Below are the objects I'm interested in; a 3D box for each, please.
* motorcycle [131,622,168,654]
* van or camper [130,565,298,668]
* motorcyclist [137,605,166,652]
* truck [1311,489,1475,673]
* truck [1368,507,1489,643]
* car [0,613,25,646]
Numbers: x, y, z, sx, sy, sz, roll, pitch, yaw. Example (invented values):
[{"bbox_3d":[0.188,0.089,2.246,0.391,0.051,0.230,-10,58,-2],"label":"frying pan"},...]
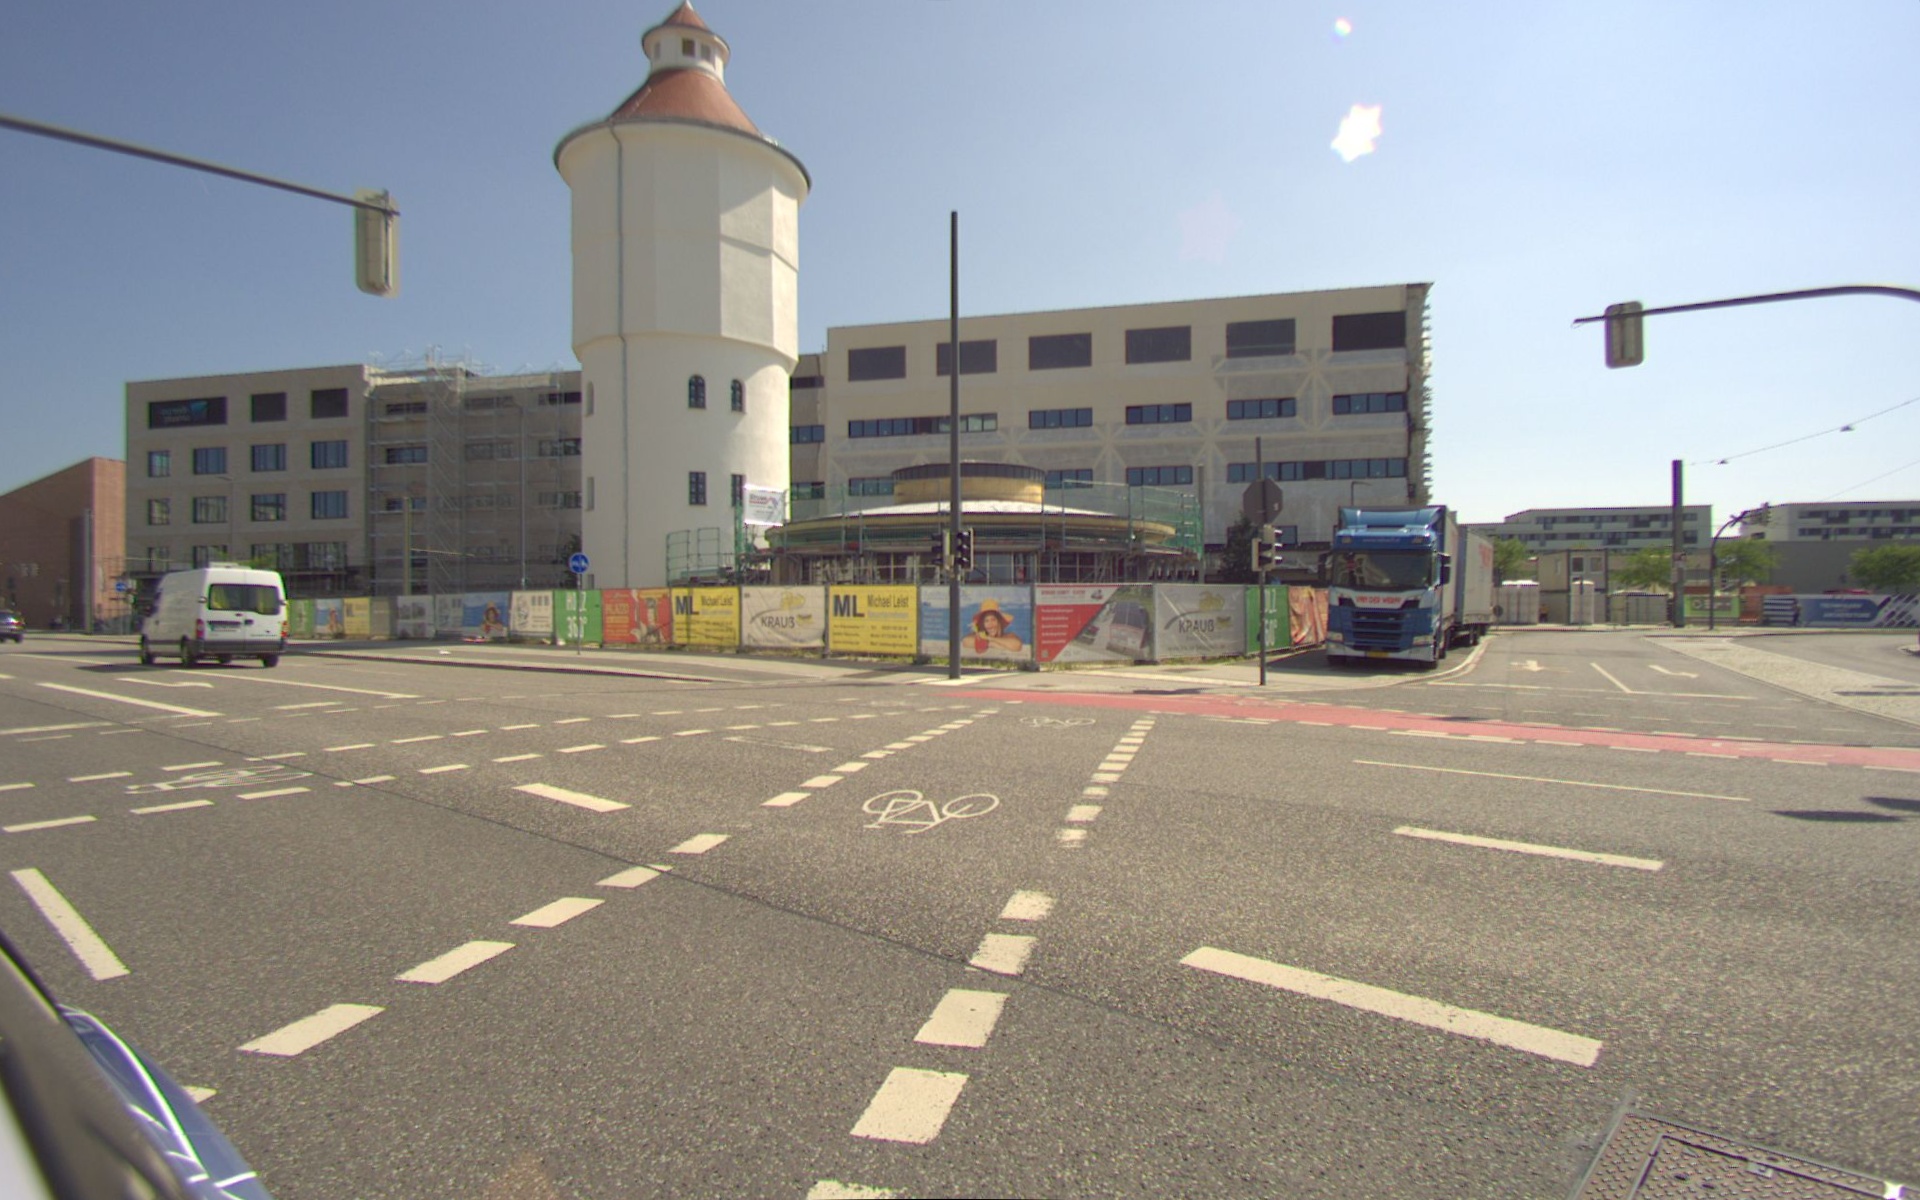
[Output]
[{"bbox_3d":[-29.830,1.391,37.228,2.213,1.112,0.578,0,-2,40],"label":"motorcycle"},{"bbox_3d":[-19.652,0.471,26.568,5.676,2.432,2.131,-1,-3,39],"label":"van or camper"},{"bbox_3d":[-29.632,1.035,37.092,0.927,1.672,0.613,0,-1,39],"label":"motorcyclist"},{"bbox_3d":[12.385,-0.564,28.171,3.287,4.098,10.877,0,1,28],"label":"truck"},{"bbox_3d":[17.666,-0.926,37.627,3.331,4.307,10.842,0,1,29],"label":"truck"},{"bbox_3d":[-48.214,1.449,50.303,3.963,1.602,1.781,-1,0,36],"label":"car"}]
